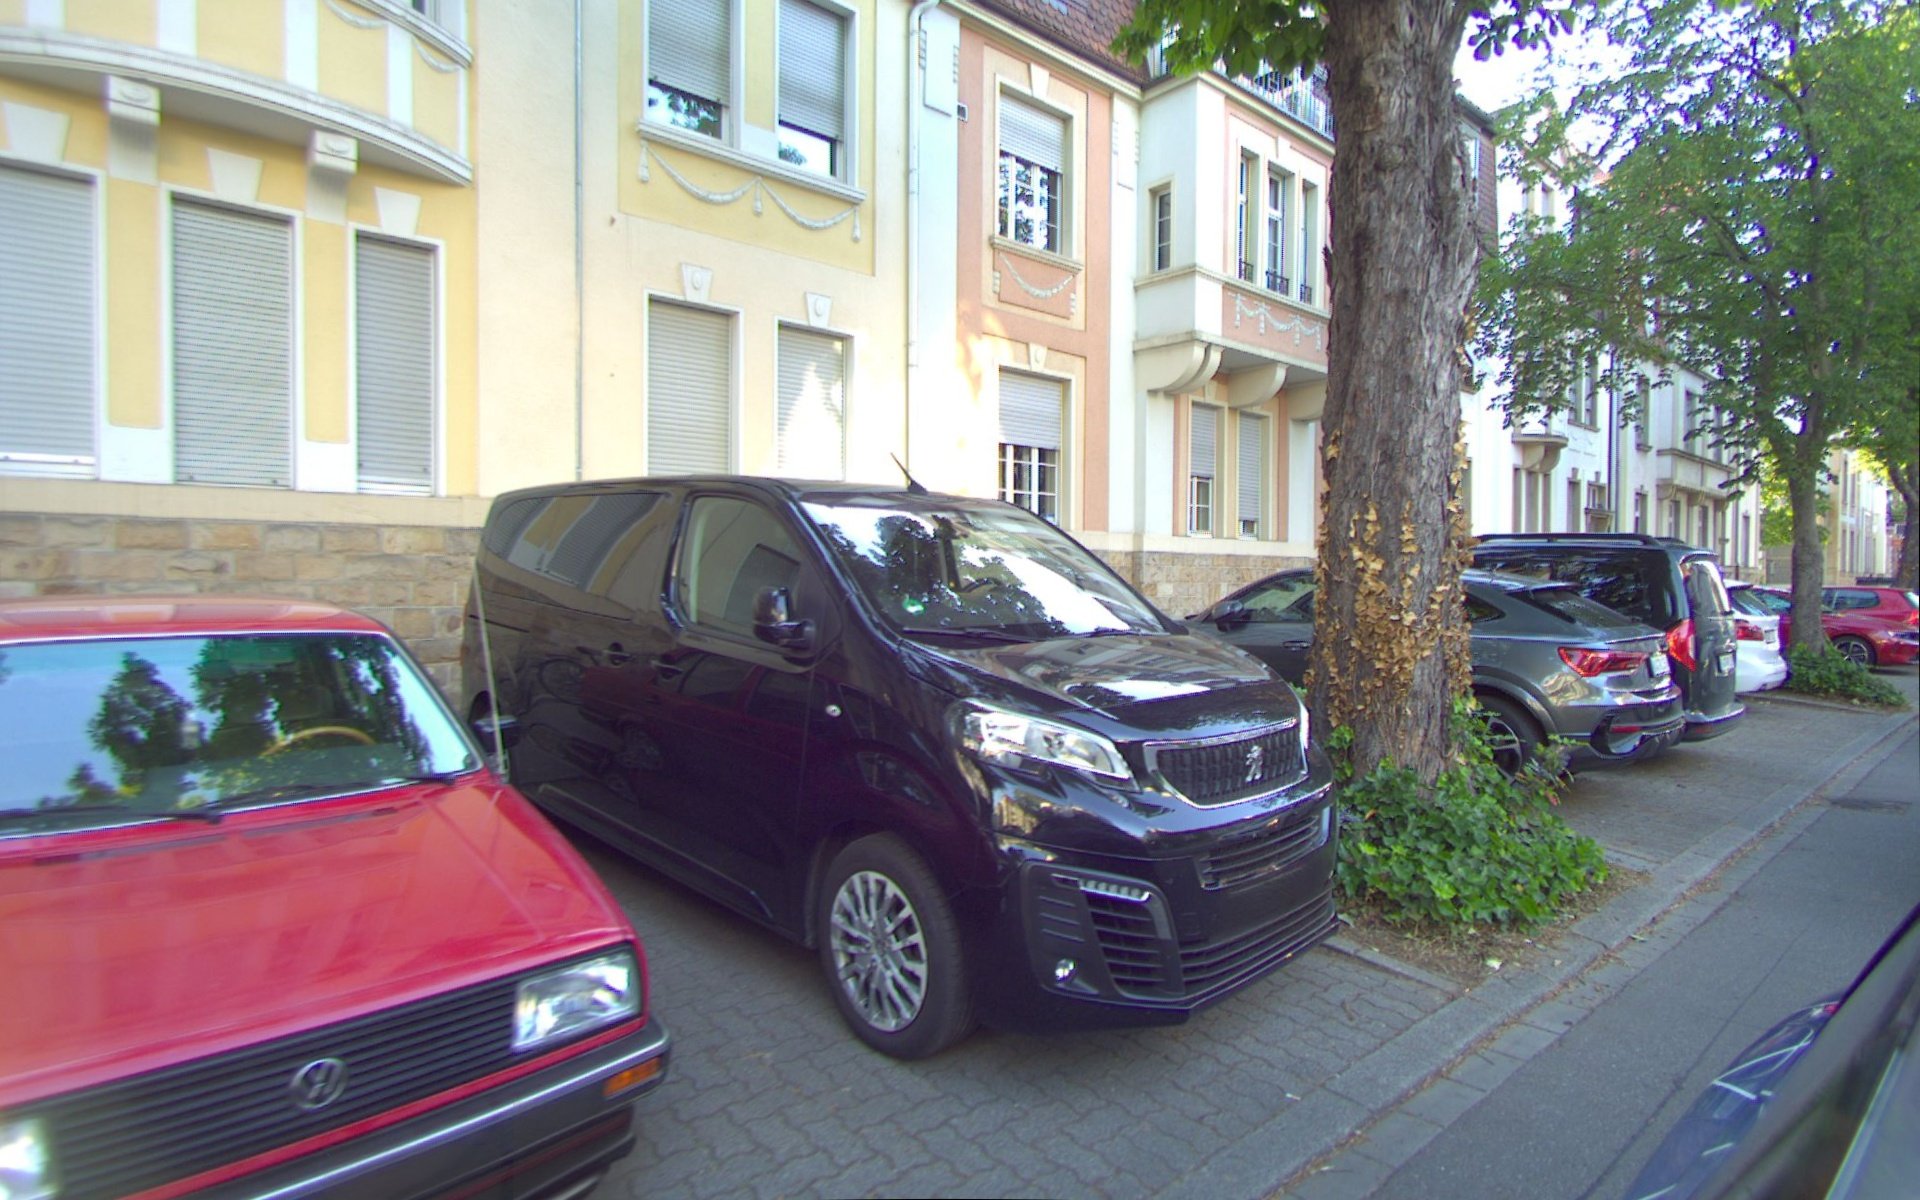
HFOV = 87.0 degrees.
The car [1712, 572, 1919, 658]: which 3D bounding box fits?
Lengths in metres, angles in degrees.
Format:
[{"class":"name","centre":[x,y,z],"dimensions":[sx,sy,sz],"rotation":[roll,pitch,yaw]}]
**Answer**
[{"class":"car","centre":[17.207,0.244,19.885],"dimensions":[1.511,1.482,3.621],"rotation":[-1,3,-40]}]

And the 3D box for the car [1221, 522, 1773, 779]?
[{"class":"car","centre":[4.668,0.237,9.294],"dimensions":[1.569,1.849,4.165],"rotation":[-2,4,-44]}]

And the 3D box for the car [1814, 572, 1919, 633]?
[{"class":"car","centre":[26.272,0.063,28.167],"dimensions":[1.511,1.583,3.621],"rotation":[-1,3,-40]}]

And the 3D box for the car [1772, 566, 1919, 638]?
[{"class":"car","centre":[21.974,0.022,24.297],"dimensions":[1.511,1.583,3.621],"rotation":[-1,3,-40]}]

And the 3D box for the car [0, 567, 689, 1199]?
[{"class":"car","centre":[-2.498,0.622,3.230],"dimensions":[1.532,1.336,3.917],"rotation":[-2,4,-43]}]

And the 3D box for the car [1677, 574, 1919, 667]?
[{"class":"car","centre":[15.298,0.299,18.219],"dimensions":[1.511,1.420,3.621],"rotation":[-1,3,-40]}]

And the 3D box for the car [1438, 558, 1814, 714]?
[{"class":"car","centre":[8.088,0.319,12.513],"dimensions":[1.513,1.569,3.616],"rotation":[-1,4,-44]}]

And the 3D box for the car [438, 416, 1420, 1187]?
[{"class":"car","centre":[-0.677,0.342,4.781],"dimensions":[1.851,1.846,4.826],"rotation":[-2,4,-44]}]

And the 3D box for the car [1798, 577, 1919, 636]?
[{"class":"car","centre":[24.305,0.158,26.337],"dimensions":[1.511,1.420,3.621],"rotation":[-1,3,-40]}]

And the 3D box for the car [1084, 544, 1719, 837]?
[{"class":"car","centre":[3.091,0.414,7.776],"dimensions":[1.569,1.611,4.165],"rotation":[-2,4,-44]}]
